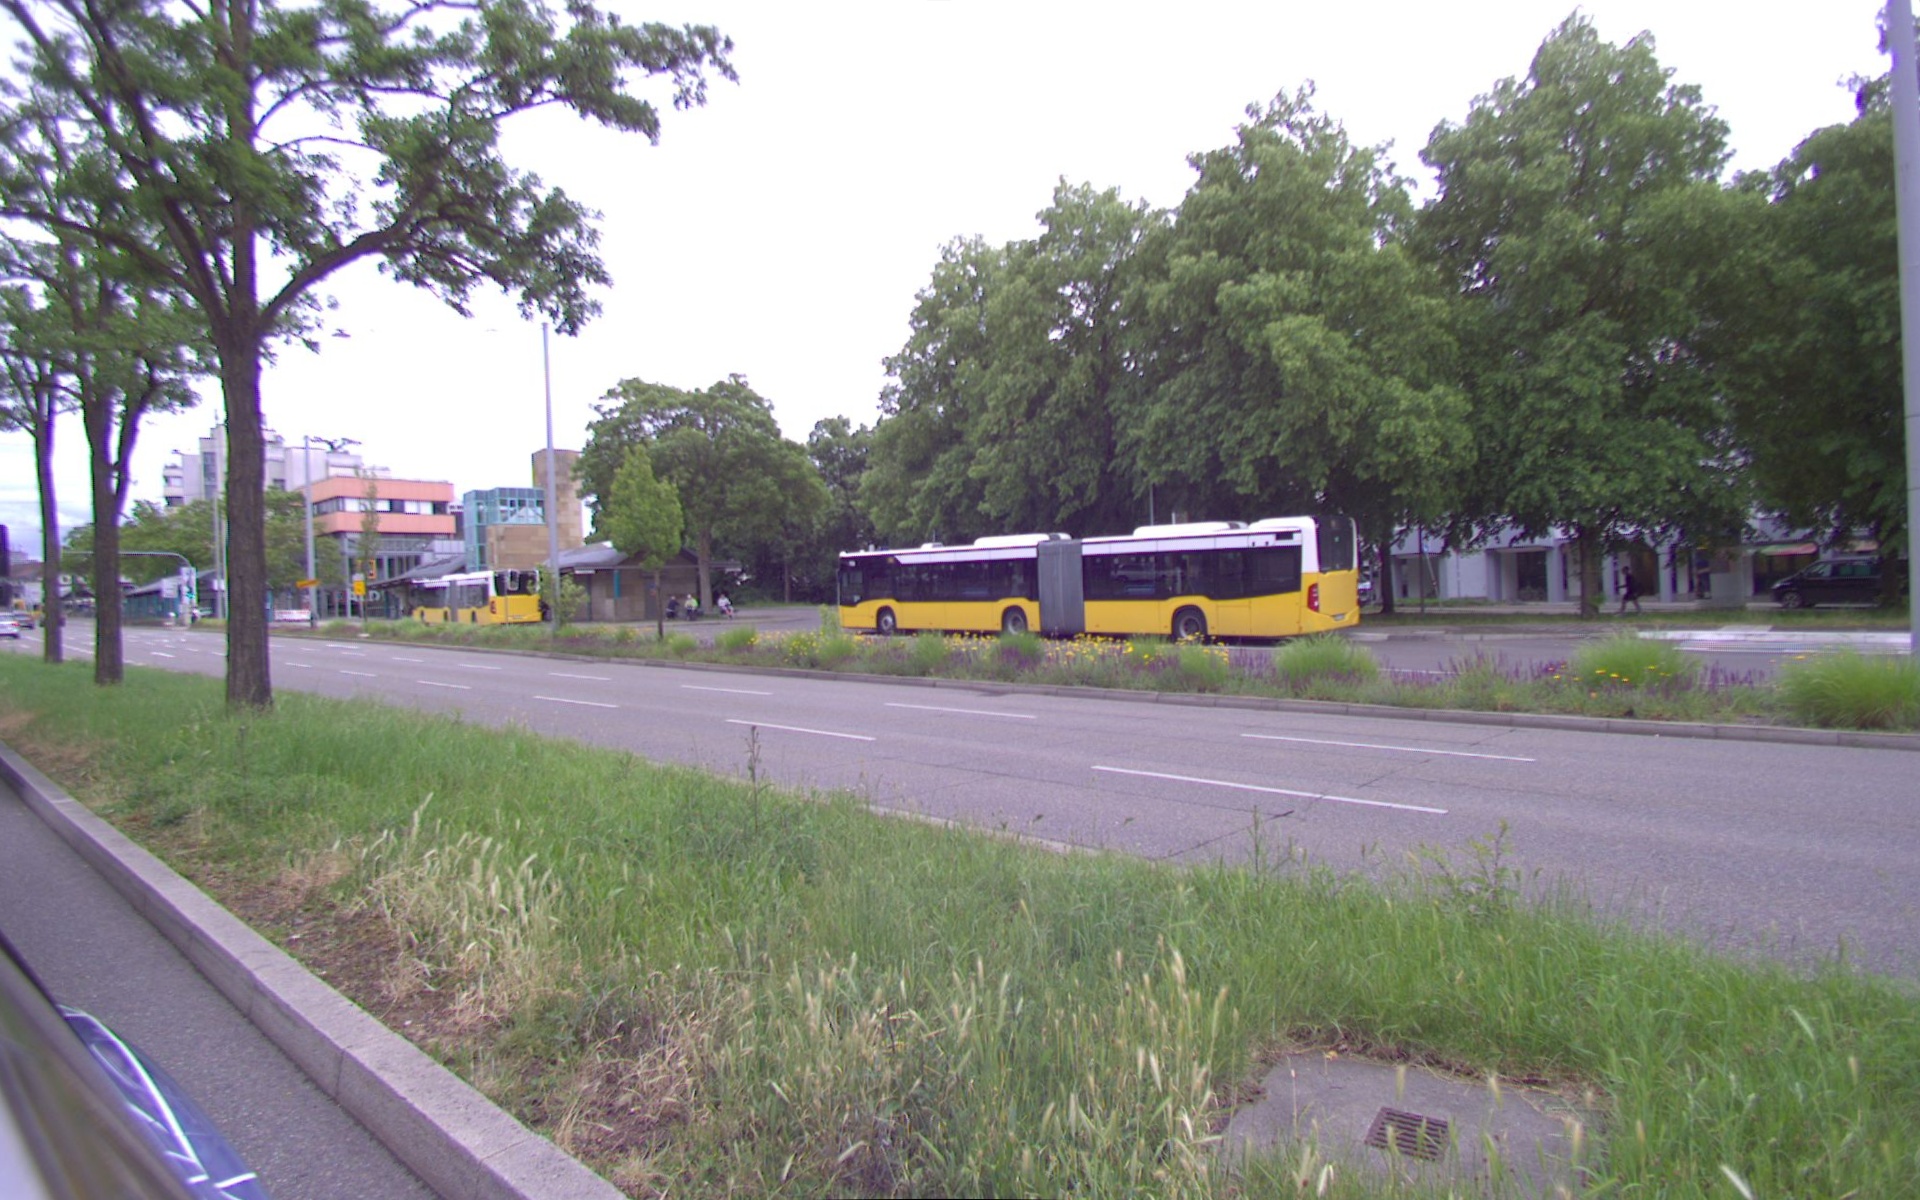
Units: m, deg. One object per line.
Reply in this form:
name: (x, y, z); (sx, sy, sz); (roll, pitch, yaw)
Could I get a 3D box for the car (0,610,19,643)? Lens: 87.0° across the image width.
car: (-59.972, 1.666, 63.034); (4.000, 2.029, 1.703); (-1, 0, 43)

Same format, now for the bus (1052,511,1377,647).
bus: (6.367, -0.425, 26.462); (2.849, 3.025, 7.889); (-1, 0, -44)

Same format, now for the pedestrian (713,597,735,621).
pedestrian: (-11.905, 0.471, 51.118); (0.924, 1.180, 0.641); (-1, 0, 41)

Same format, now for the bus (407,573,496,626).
bus: (-31.327, 0.007, 62.116); (2.846, 3.025, 9.191); (-1, 0, -39)

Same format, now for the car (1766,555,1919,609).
car: (33.141, -0.635, 37.791); (1.758, 1.861, 4.429); (-1, 0, -35)

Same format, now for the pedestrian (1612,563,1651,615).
pedestrian: (20.931, -0.339, 31.551); (0.904, 1.569, 0.761); (-2, 0, 41)

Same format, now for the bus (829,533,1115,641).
bus: (0.001, -0.308, 33.081); (2.848, 3.025, 10.401); (-1, 0, -44)

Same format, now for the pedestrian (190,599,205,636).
pedestrian: (-58.222, 1.316, 77.311); (0.889, 2.809, 1.150); (-1, 0, -36)

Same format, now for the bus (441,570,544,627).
bus: (-25.656, -0.041, 55.230); (2.846, 2.830, 9.192); (-1, 0, -39)

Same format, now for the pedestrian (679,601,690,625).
pedestrian: (-13.725, 0.632, 50.404); (0.361, 1.175, 0.900); (-1, 0, -23)

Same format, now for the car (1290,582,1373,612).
car: (20.050, -0.167, 54.714); (1.730, 1.524, 4.012); (-1, 0, -29)

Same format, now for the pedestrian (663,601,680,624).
pedestrian: (-14.824, 0.646, 52.010); (0.590, 1.171, 0.744); (-1, 0, -34)

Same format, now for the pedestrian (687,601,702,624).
pedestrian: (-13.254, 0.626, 50.570); (0.589, 1.171, 0.745); (-1, 0, -23)
